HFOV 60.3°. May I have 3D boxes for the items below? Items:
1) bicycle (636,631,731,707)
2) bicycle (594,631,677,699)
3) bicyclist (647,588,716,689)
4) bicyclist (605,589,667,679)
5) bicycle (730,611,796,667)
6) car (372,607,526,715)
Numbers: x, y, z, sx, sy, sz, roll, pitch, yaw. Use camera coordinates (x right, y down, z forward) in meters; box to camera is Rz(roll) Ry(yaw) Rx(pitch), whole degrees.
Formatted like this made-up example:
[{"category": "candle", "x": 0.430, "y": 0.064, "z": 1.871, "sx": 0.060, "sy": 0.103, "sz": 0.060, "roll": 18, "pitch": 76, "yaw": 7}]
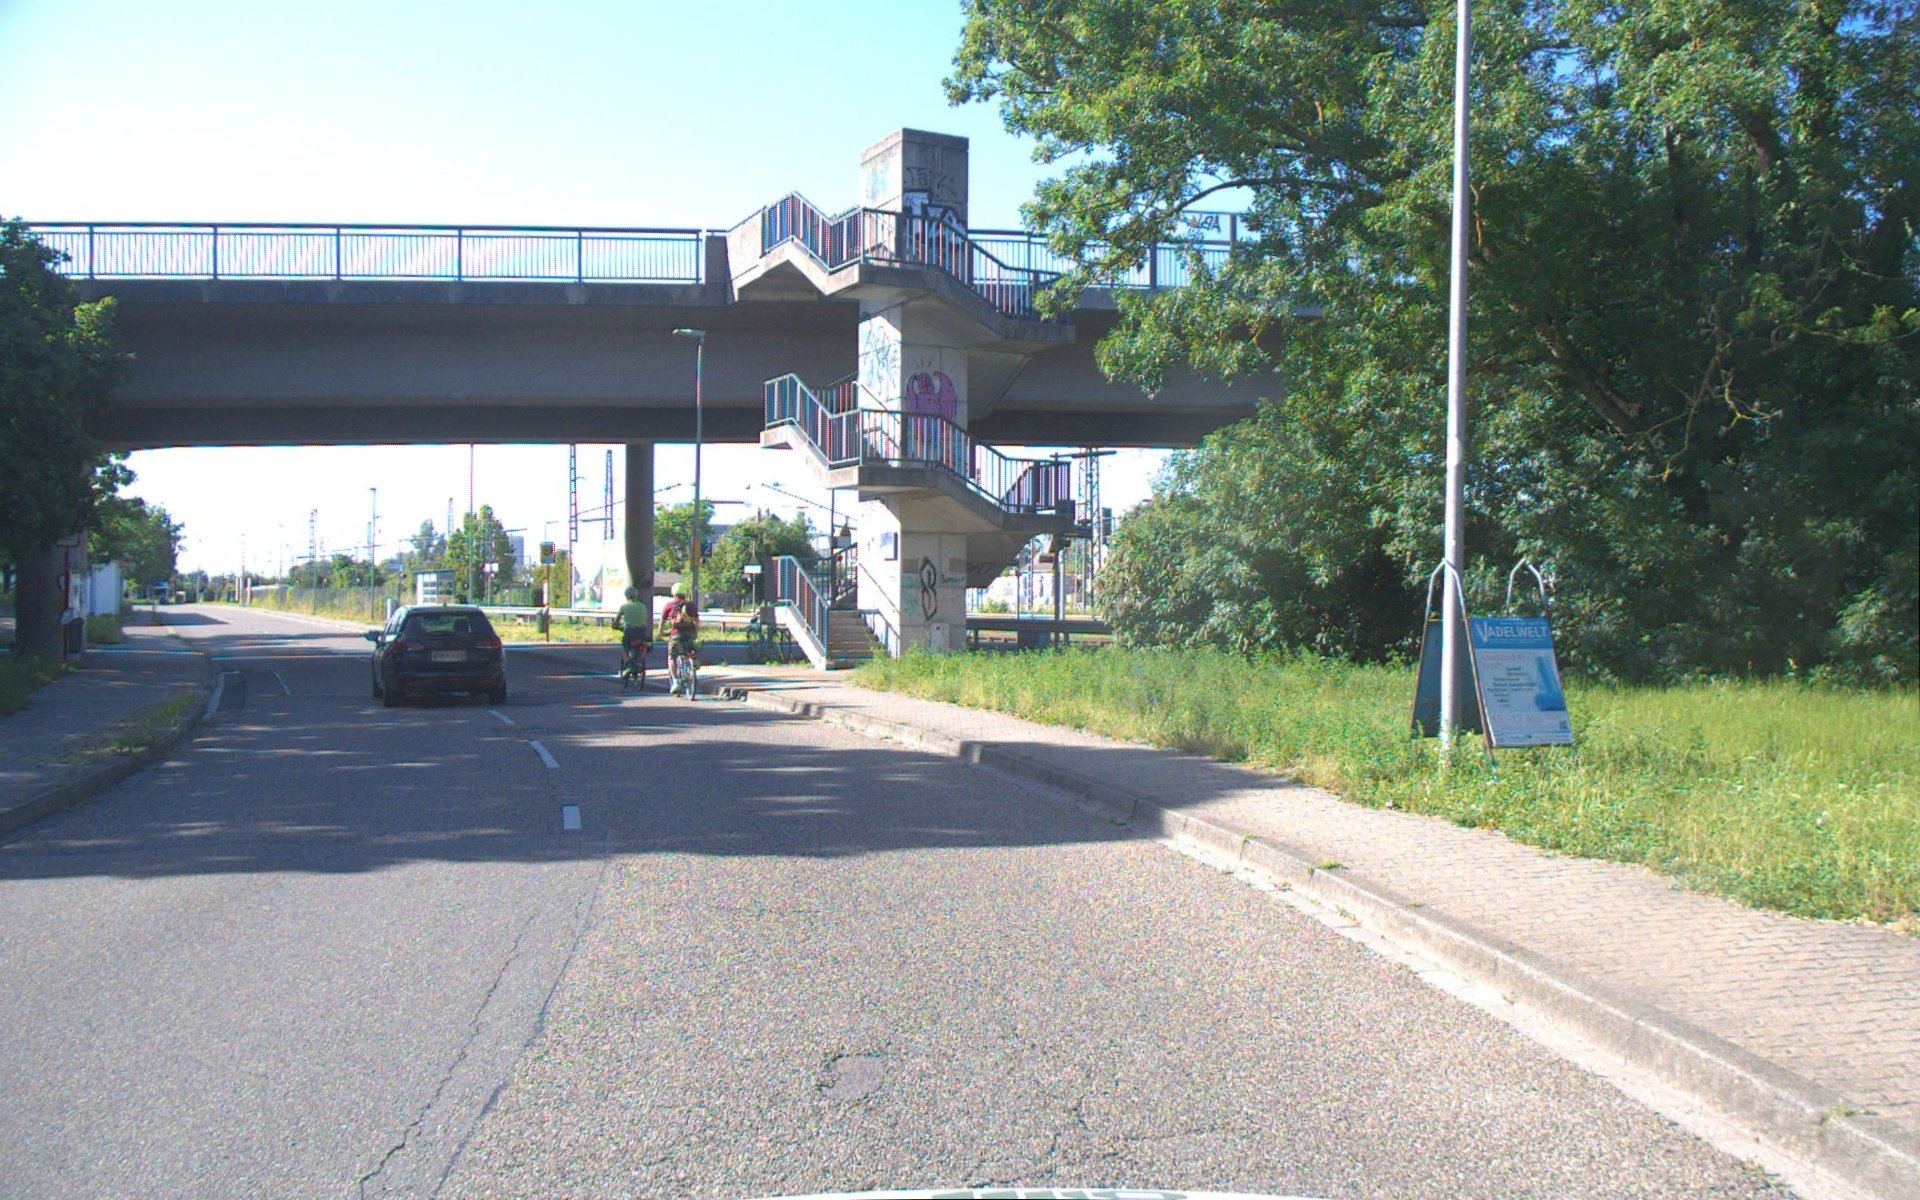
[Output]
[{"category": "bicycle", "x": -4.240, "y": 1.025, "z": 25.271, "sx": 0.831, "sy": 1.070, "sz": 2.170, "roll": 0, "pitch": 0, "yaw": -27}, {"category": "bicycle", "x": -5.606, "y": 1.097, "z": 28.496, "sx": 0.831, "sy": 1.070, "sz": 2.170, "roll": 0, "pitch": 0, "yaw": -27}, {"category": "bicyclist", "x": -4.266, "y": 0.574, "z": 25.313, "sx": 0.830, "sy": 1.514, "sz": 0.916, "roll": 0, "pitch": 0, "yaw": -26}, {"category": "bicyclist", "x": -5.584, "y": 0.565, "z": 28.469, "sx": 0.831, "sy": 1.514, "sz": 0.915, "roll": 0, "pitch": 0, "yaw": -28}, {"category": "bicycle", "x": -4.374, "y": 0.840, "z": 36.603, "sx": 0.591, "sy": 1.203, "sz": 2.157, "roll": 0, "pitch": 0, "yaw": -32}, {"category": "car", "x": -7.999, "y": 0.866, "z": 25.648, "sx": 1.915, "sy": 1.515, "sz": 4.534, "roll": 0, "pitch": 0, "yaw": -22}]
